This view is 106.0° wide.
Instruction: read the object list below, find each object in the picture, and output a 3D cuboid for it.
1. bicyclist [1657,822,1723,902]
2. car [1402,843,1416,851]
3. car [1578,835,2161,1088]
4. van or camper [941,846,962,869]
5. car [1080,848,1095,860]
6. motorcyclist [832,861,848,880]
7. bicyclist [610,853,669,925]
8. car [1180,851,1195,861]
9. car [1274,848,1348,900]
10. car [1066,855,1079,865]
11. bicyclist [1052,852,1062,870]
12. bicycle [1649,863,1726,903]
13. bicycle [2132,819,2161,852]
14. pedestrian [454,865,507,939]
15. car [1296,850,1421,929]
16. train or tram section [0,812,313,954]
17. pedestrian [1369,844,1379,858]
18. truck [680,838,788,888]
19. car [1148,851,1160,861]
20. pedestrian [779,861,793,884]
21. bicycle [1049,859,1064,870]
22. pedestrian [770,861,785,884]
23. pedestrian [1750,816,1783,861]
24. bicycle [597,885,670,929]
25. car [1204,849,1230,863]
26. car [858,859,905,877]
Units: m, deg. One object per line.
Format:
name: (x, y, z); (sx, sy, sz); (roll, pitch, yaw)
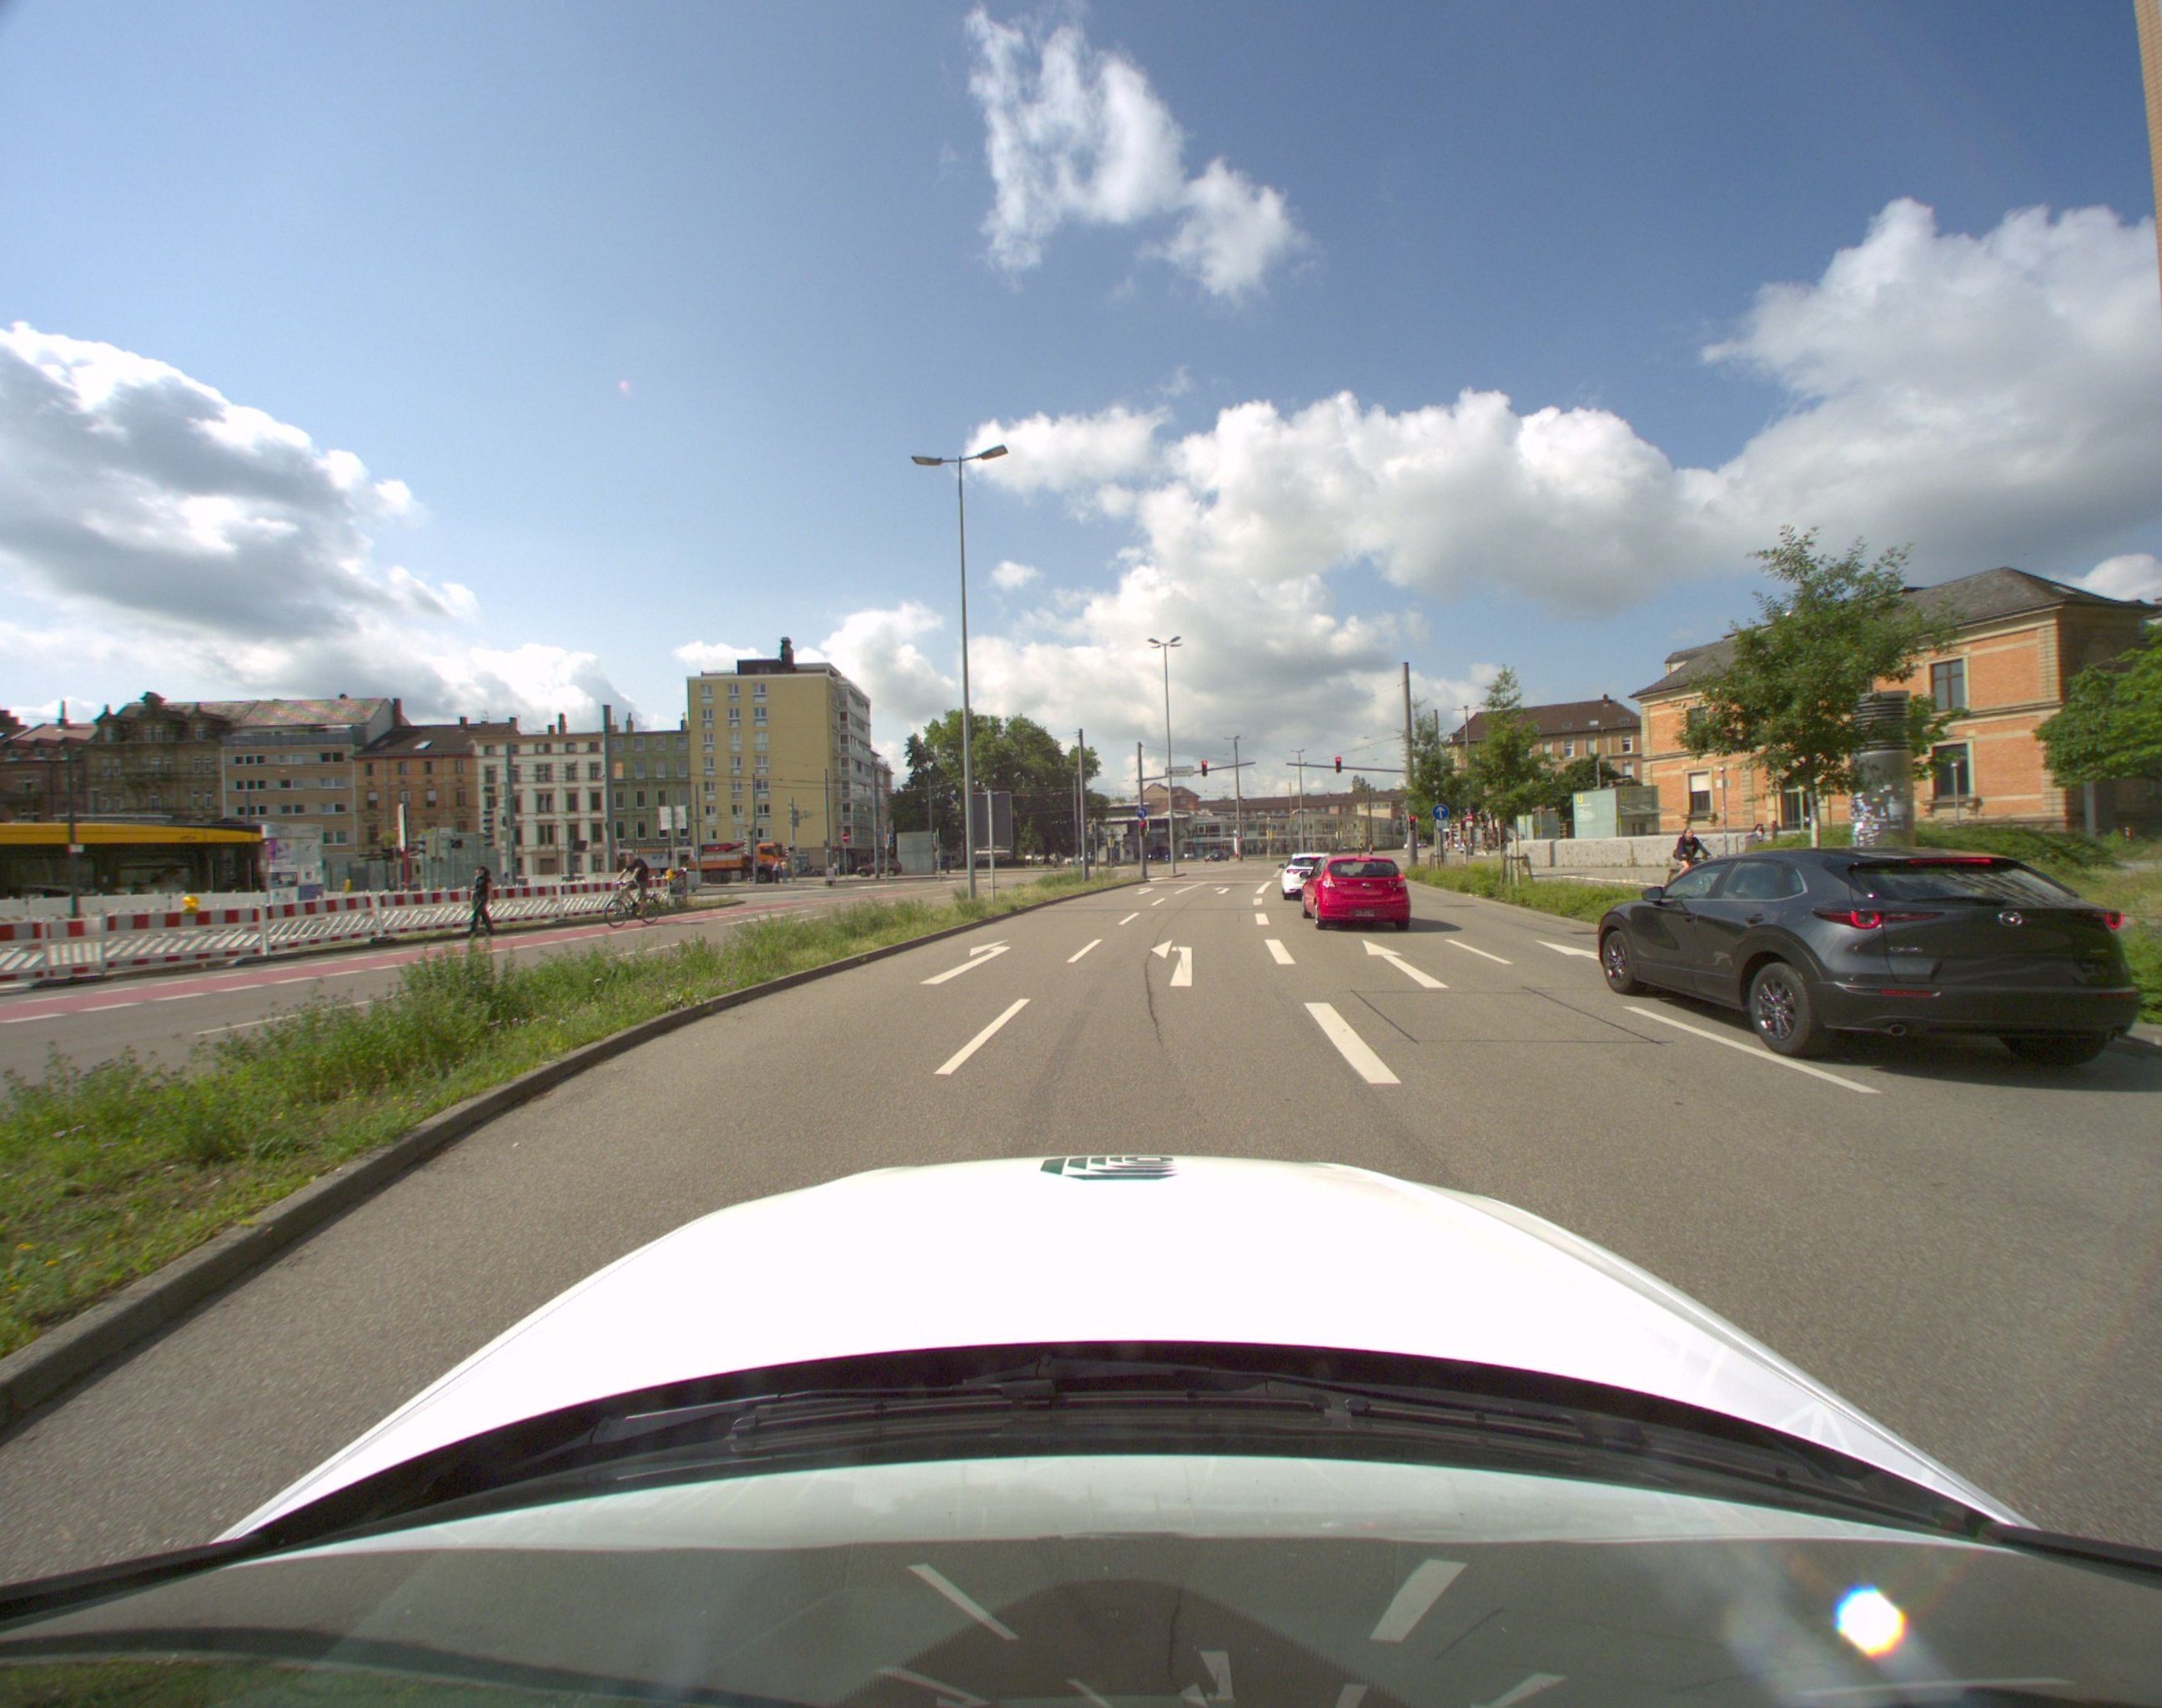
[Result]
bicyclist: (13.615, 0.174, 18.229); (0.731, 1.702, 0.968); (-4, -1, 10)
car: (65.874, -1.473, 163.475); (1.974, 1.442, 4.025); (-2, 0, 29)
car: (6.156, 0.669, 7.051); (1.794, 1.508, 4.217); (-1, -1, 11)
van or camper: (-17.745, 0.509, 111.464); (2.581, 2.908, 6.079); (-2, 0, -10)
car: (1.106, 0.023, 141.216); (1.983, 2.013, 4.008); (-2, 0, 7)
motorcyclist: (-24.140, 1.641, 81.537); (0.880, 1.782, 1.248); (-2, 0, 17)
bicyclist: (-11.594, 0.893, 21.405); (0.807, 1.822, 1.160); (-2, 0, 4)
car: (18.013, 0.280, 137.686); (1.986, 1.596, 4.001); (-2, 0, 2)
car: (7.306, 0.586, 26.210); (1.836, 1.472, 4.348); (-3, 0, 10)
car: (-1.483, 1.061, 142.058); (1.788, 1.769, 4.008); (-2, 0, 7)
bicyclist: (-2.593, 0.754, 86.886); (0.885, 1.871, 0.761); (-2, 0, -9)
bicycle: (13.636, 0.630, 18.366); (0.621, 0.811, 1.794); (-4, -1, 10)
bicycle: (36.360, -0.626, 26.728); (1.038, 1.072, 2.056); (-2, 0, -22)
pedestrian: (-14.201, 1.121, 19.270); (0.731, 1.681, 0.642); (-2, 0, 9)
car: (5.685, 0.659, 17.143); (1.805, 1.439, 4.078); (-1, 0, 9)
train or tram section: (-28.453, 0.772, 20.900); (2.634, 3.572, 12.491); (-2, 0, 41)
pedestrian: (32.419, -0.316, 90.178); (0.677, 1.535, 0.668); (-2, 0, -27)
truck: (-29.149, 0.726, 68.622); (7.895, 3.856, 2.198); (-2, 0, -3)
car: (12.332, 0.357, 137.695); (1.983, 1.552, 4.085); (-2, 0, 6)
pedestrian: (-24.066, 1.526, 66.469); (0.646, 1.868, 0.784); (-2, 0, 13)
bicycle: (-2.629, 1.141, 86.894); (1.464, 1.117, 0.585); (-2, 0, -9)
pedestrian: (-24.831, 1.518, 66.629); (0.694, 1.860, 0.822); (-2, 0, 12)
pedestrian: (26.617, -0.594, 31.609); (0.885, 1.687, 0.757); (-2, 0, -38)
bicycle: (-11.603, 1.342, 21.195); (0.613, 1.002, 2.021); (-2, 0, 5)
car: (16.589, 0.210, 99.262); (1.975, 1.530, 4.024); (-2, 0, 27)
car: (-19.103, 1.325, 78.121); (4.059, 1.508, 1.812); (-2, 0, -3)
